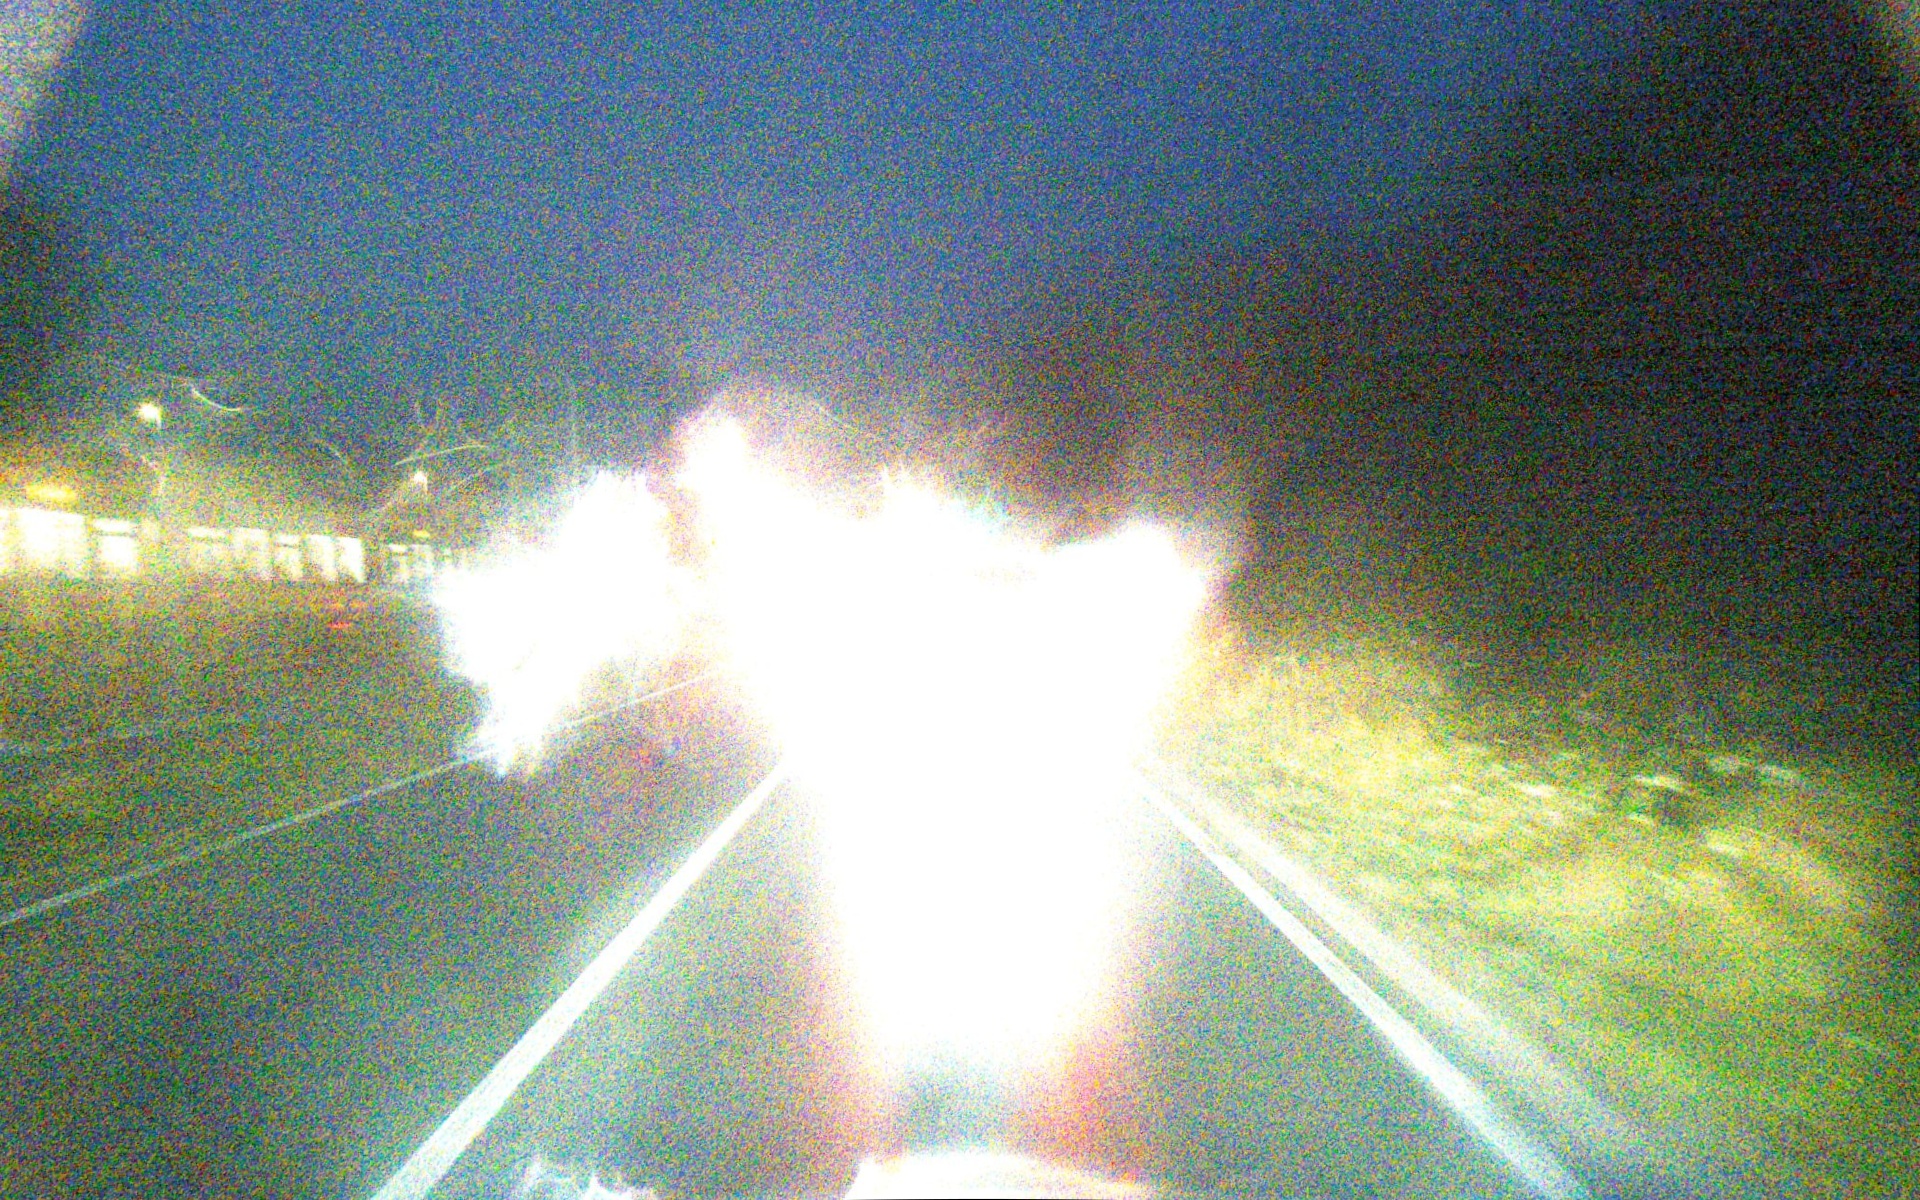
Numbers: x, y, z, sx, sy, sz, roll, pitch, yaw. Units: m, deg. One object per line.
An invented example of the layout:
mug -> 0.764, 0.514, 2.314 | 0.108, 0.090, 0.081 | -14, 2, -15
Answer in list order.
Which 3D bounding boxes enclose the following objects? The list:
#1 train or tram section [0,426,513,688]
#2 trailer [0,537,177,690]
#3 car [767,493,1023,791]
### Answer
train or tram section -> -15.790, -0.616, 36.216 | 2.641, 3.881, 37.136 | 1, 0, -1
trailer -> -31.488, 0.399, 55.535 | 3.890, 4.690, 14.243 | 1, 0, -2
car -> -0.669, 0.265, 14.230 | 1.757, 2.057, 4.575 | -3, 1, -5
